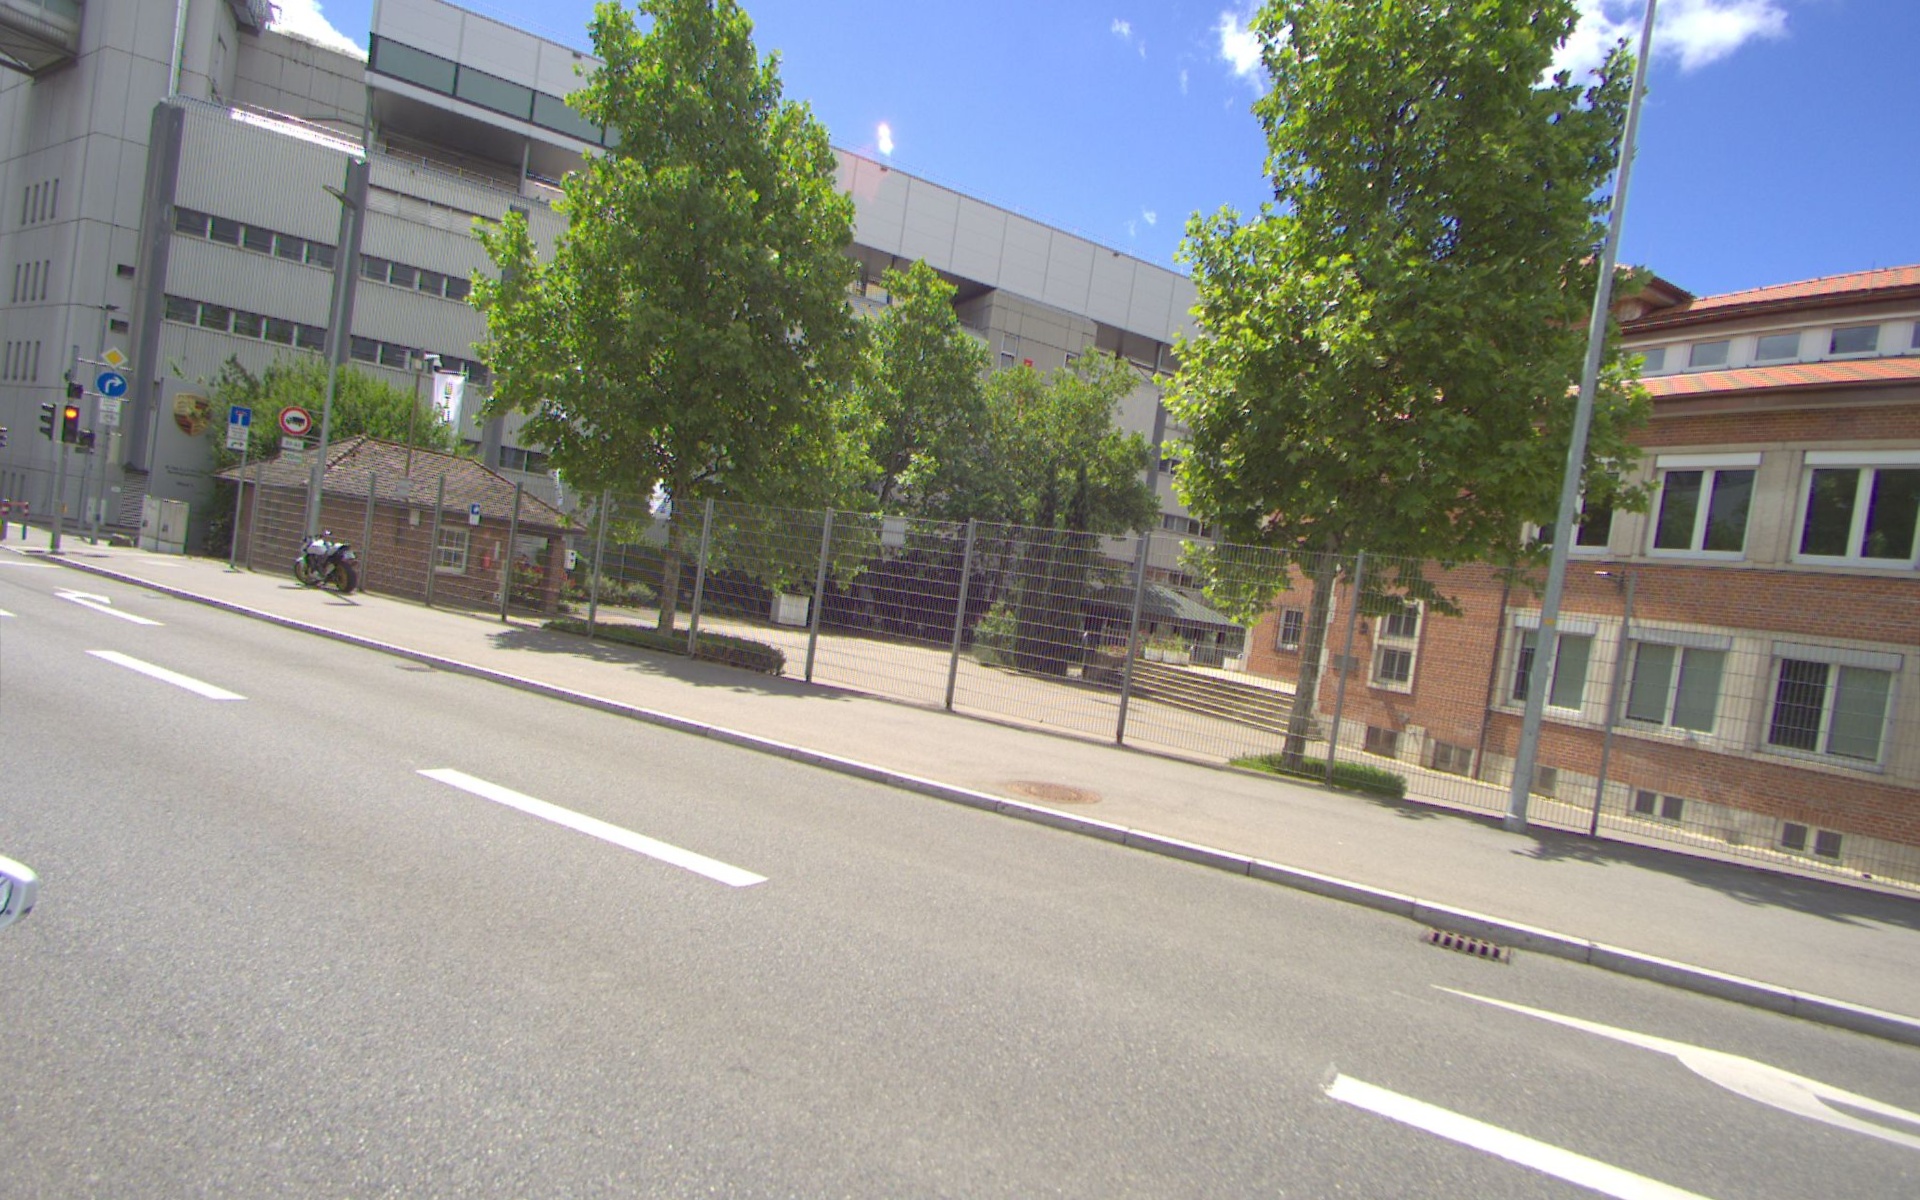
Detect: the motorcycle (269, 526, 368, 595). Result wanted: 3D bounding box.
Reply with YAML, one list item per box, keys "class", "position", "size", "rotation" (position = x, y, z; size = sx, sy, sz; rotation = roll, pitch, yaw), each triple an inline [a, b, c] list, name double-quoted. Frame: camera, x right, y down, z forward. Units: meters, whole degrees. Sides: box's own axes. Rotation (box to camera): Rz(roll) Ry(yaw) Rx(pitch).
- class: "motorcycle"
  position: [-13.202, -0.824, 20.684]
  size: [2.110, 1.173, 0.693]
  rotation: [7, 2, 28]
